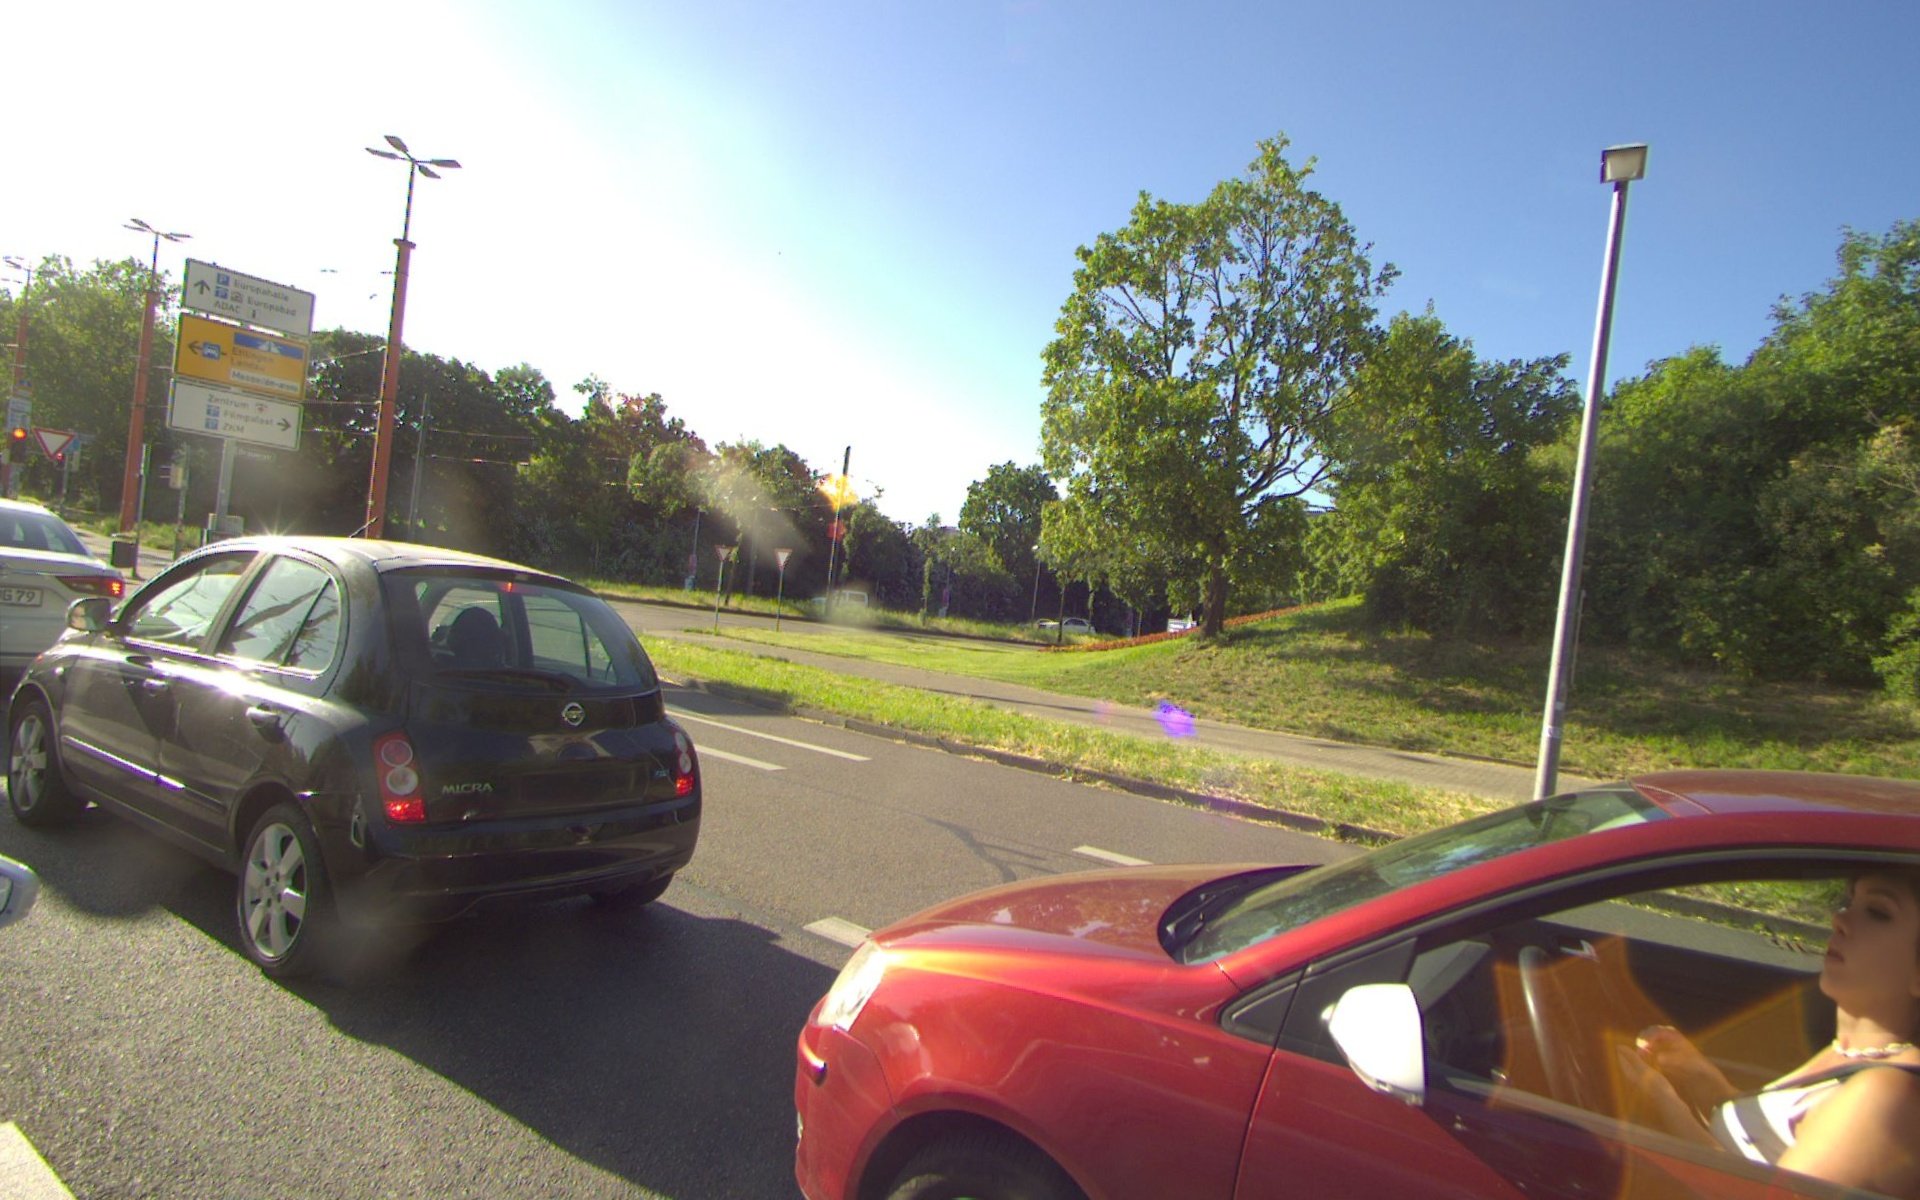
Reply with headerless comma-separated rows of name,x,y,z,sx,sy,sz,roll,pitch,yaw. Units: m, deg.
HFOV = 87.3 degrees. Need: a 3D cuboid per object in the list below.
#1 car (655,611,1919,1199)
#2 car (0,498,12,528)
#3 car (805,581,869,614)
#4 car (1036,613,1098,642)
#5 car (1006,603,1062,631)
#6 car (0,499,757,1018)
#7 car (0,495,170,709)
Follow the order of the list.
car,1.338,1.001,1.869,3.629,1.477,1.579,6,-2,32
car,-48.688,-4.519,48.434,4.093,1.419,1.642,8,-1,-33
car,-8.773,-0.147,72.011,4.085,1.771,1.645,8,-1,-28
car,8.375,2.139,78.437,4.629,1.644,1.643,8,-1,-32
car,5.957,1.391,80.968,4.176,1.701,1.643,8,-1,-32
car,-2.804,0.466,4.625,3.385,1.457,1.579,6,-2,32
car,-8.377,-0.177,8.079,4.256,1.457,1.802,6,-2,33
